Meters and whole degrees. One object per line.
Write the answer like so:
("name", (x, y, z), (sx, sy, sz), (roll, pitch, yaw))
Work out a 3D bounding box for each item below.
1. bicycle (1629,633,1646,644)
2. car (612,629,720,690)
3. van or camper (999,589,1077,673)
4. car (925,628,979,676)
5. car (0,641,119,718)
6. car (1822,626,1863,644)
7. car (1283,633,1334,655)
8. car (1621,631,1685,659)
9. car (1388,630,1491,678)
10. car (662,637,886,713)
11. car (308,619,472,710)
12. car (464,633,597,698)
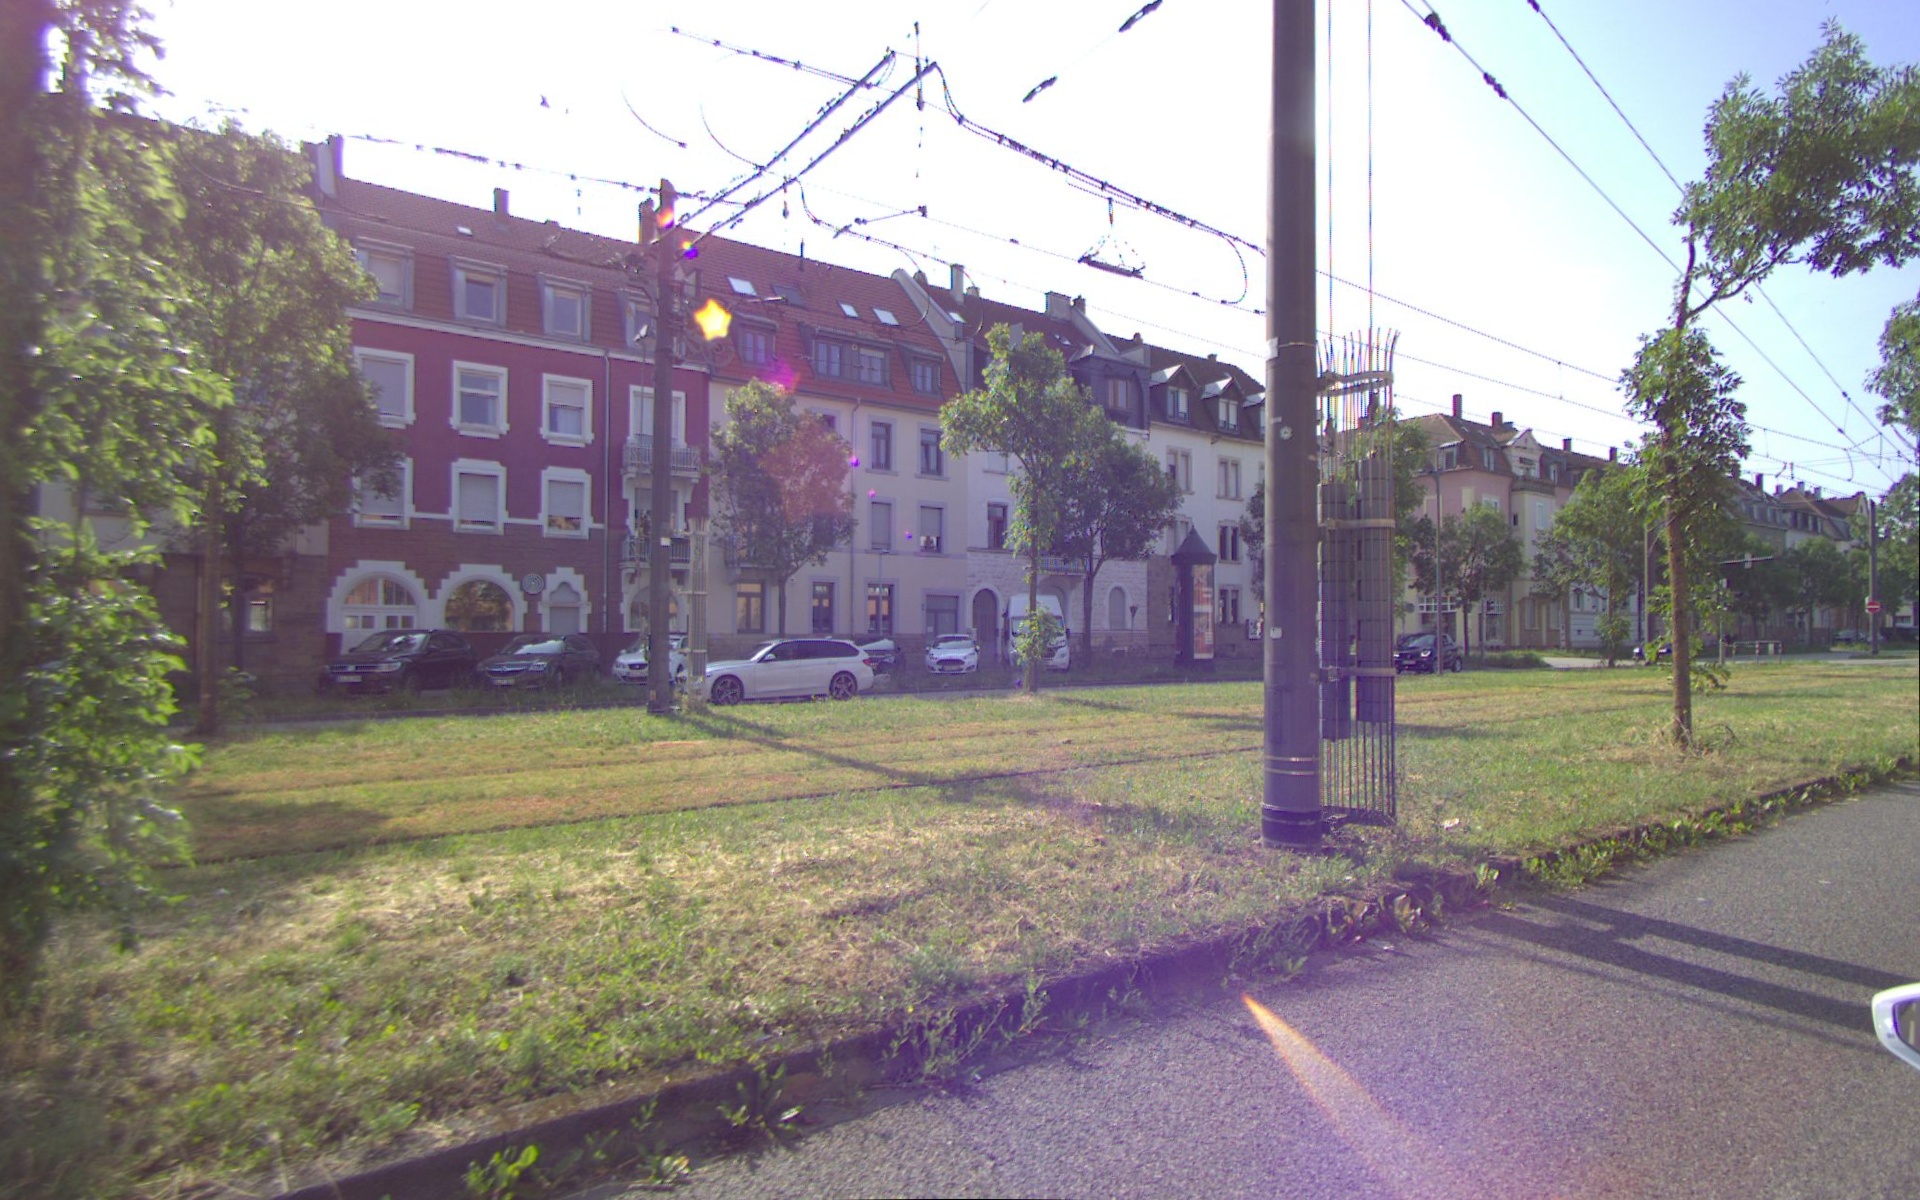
("bicycle", (50.514, 2.846, 74.932), (1.929, 0.799, 0.434), (2, 0, -37))
("car", (-7.611, 1.501, 26.355), (1.629, 1.334, 4.014), (2, 0, 0))
("van or camper", (2.593, 1.008, 34.891), (2.156, 2.607, 5.926), (2, 0, 0))
("car", (-0.254, 1.645, 32.664), (1.629, 1.349, 3.687), (2, 0, 0))
("car", (-18.185, 1.497, 18.879), (1.629, 1.258, 3.687), (2, 0, 0))
("car", (84.093, 3.297, 95.696), (4.731, 1.650, 1.979), (1, 0, -37))
("car", (26.071, 3.285, 75.208), (1.555, 1.481, 3.373), (2, 0, -37))
("car", (39.138, 2.511, 56.732), (3.888, 1.452, 1.799), (2, 0, -36))
("car", (18.352, 2.027, 38.377), (3.958, 1.677, 1.754), (2, 0, -33))
("car", (-4.150, 1.637, 22.760), (4.602, 1.479, 1.935), (2, 0, -35))
("car", (-12.957, 1.398, 23.179), (1.801, 1.766, 4.639), (2, 0, -10))
("car", (-9.976, 1.489, 23.622), (1.630, 1.258, 3.686), (2, 0, -2))
